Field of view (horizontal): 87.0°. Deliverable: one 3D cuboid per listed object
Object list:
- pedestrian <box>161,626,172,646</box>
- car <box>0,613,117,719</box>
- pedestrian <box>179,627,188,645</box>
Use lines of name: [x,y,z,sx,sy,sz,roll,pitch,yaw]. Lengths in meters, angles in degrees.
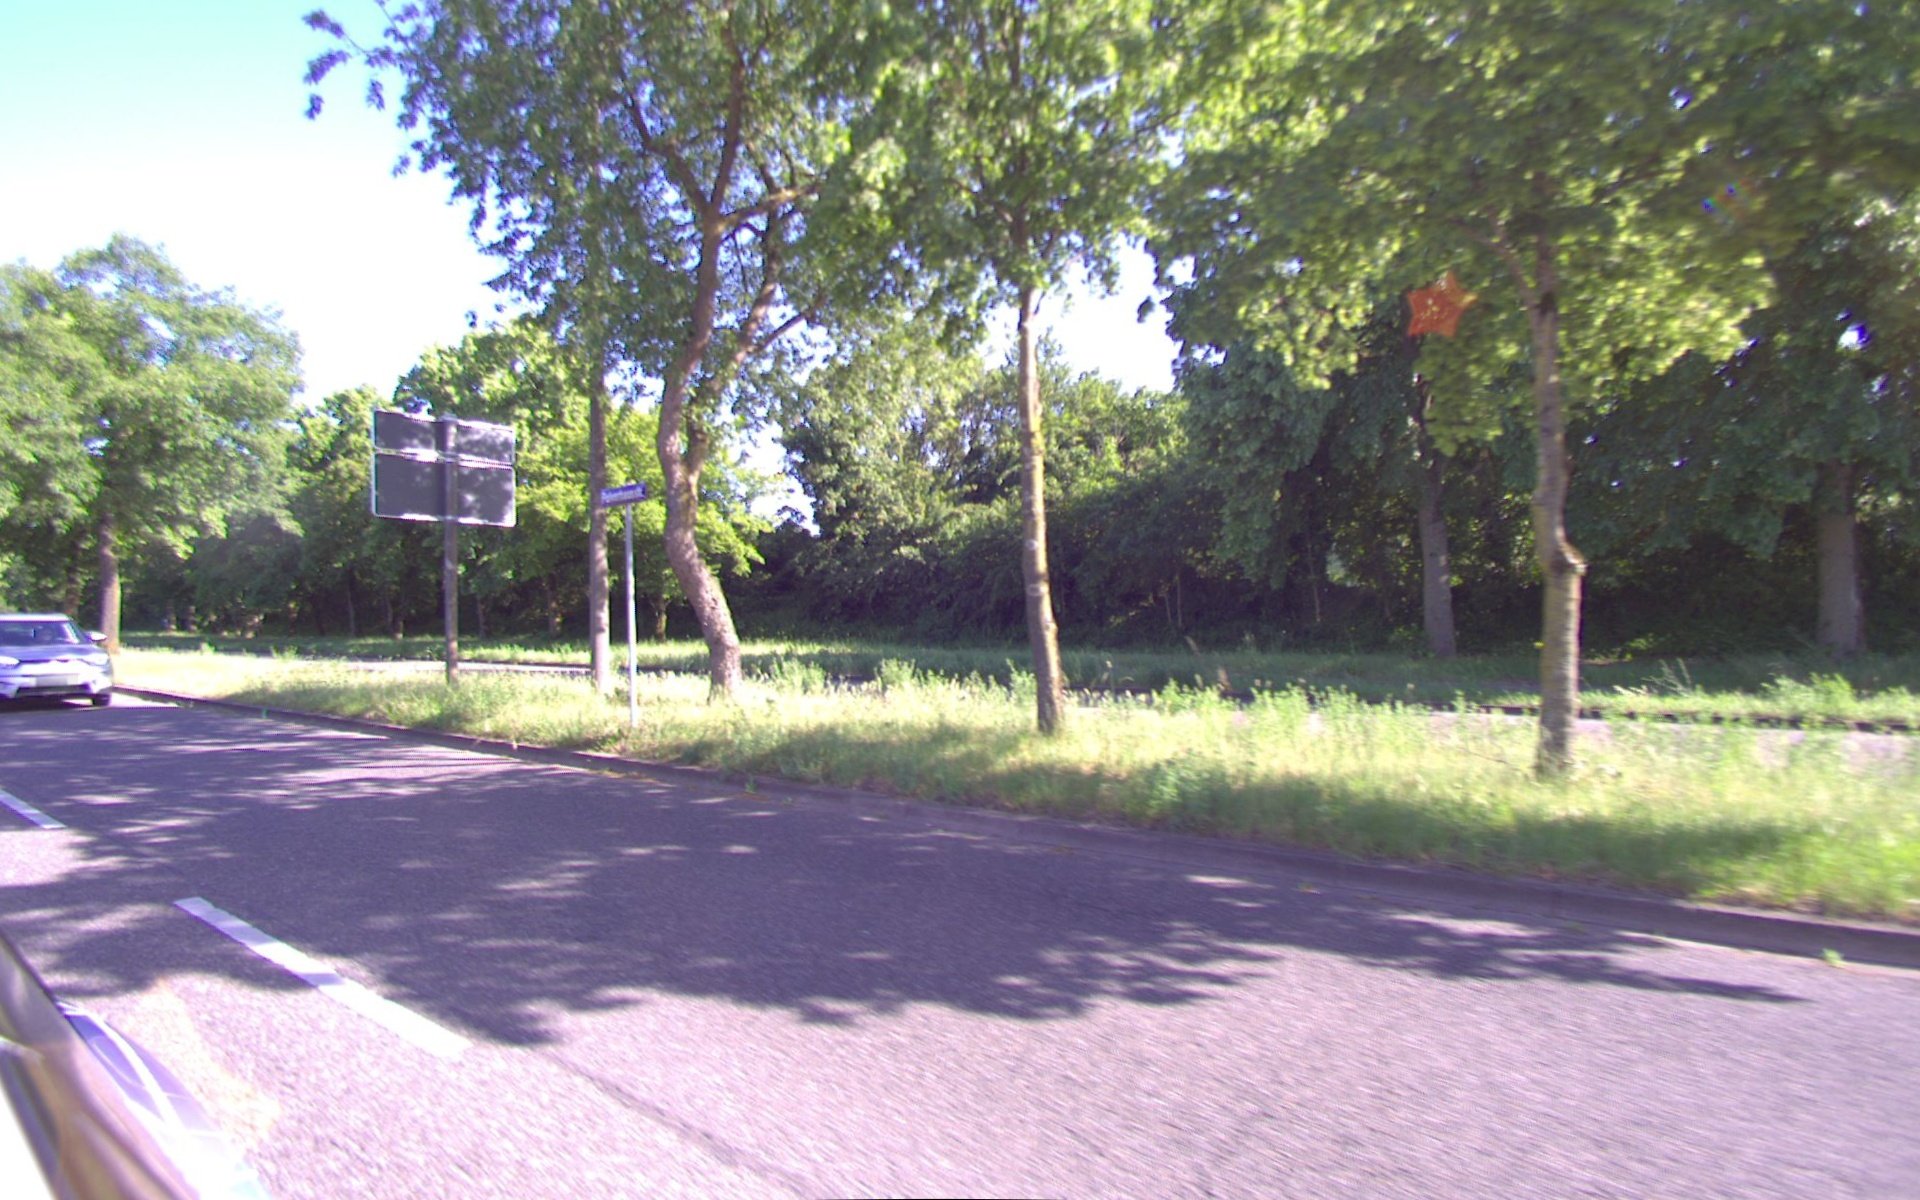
pedestrian: [-72.461,3.294,92.441,0.672,1.671,0.681,-5,5,-36]
car: [-16.257,1.057,17.525,4.101,1.622,1.767,0,0,39]
pedestrian: [-71.579,3.308,93.314,0.553,1.671,0.541,-3,2,-40]
